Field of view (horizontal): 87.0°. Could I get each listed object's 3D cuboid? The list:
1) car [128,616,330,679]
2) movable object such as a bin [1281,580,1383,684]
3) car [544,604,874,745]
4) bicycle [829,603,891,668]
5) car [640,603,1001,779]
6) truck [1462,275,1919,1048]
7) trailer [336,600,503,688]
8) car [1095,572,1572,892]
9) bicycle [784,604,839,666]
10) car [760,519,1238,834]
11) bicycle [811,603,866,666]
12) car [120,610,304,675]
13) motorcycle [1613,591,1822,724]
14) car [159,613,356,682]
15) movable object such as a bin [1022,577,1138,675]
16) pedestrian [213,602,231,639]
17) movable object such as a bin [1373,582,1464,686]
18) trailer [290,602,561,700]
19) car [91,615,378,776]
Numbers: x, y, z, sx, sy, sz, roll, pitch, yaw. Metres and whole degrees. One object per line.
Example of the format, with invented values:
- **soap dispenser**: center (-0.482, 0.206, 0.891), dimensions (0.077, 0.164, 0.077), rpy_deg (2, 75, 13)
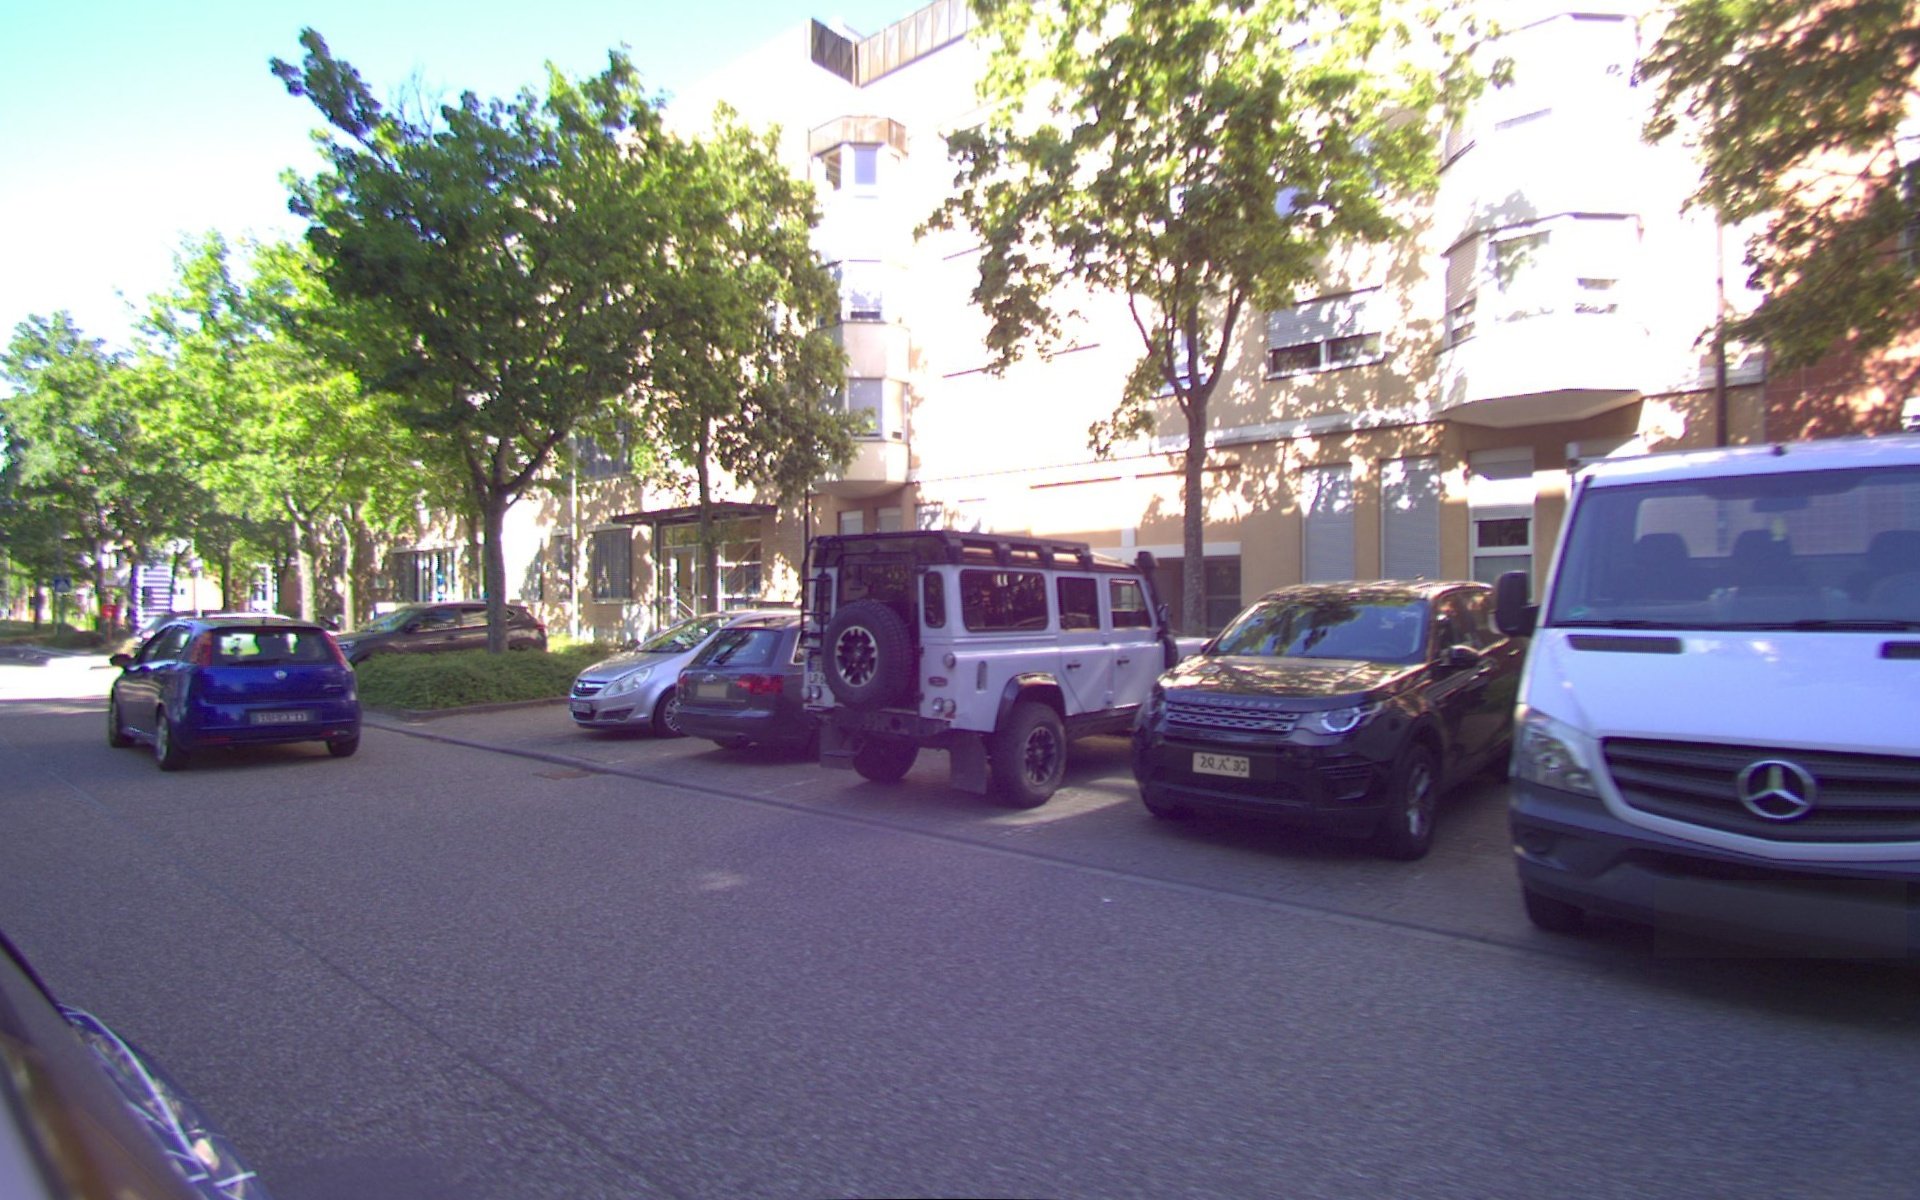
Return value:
- **car**: center (-19.687, 1.228, 27.378), dimensions (1.799, 1.413, 4.110), rpy_deg (-1, 1, 40)
- **movable object such as a bin**: center (6.157, 0.525, 16.736), dimensions (1.435, 1.632, 1.137), rpy_deg (-1, -1, 29)
- **car**: center (-3.112, 0.836, 13.064), dimensions (1.733, 1.472, 3.792), rpy_deg (-1, 0, 44)
- **bicycle**: center (-2.304, 0.807, 23.473), dimensions (0.611, 1.419, 1.714), rpy_deg (-1, 0, 26)
- **car**: center (-1.355, 0.831, 11.086), dimensions (1.829, 1.504, 3.745), rpy_deg (-1, 0, 36)
- **truck**: center (4.874, 0.240, 5.679), dimensions (2.186, 2.440, 6.167), rpy_deg (-1, -2, 41)
- **trailer**: center (-11.510, 0.890, 21.628), dimensions (1.711, 1.700, 2.697), rpy_deg (-1, 0, 41)
- **car**: center (2.969, 0.660, 7.490), dimensions (1.999, 1.674, 4.064), rpy_deg (-1, 1, 41)
- **bicycle**: center (-3.580, 0.823, 24.495), dimensions (0.609, 1.419, 1.720), rpy_deg (-1, 0, 18)
- **car**: center (0.609, 0.469, 9.000), dimensions (1.998, 2.067, 4.438), rpy_deg (-1, 1, 39)
- **bicycle**: center (-2.869, 0.804, 24.078), dimensions (0.609, 1.419, 1.720), rpy_deg (-1, 0, 18)
- **car**: center (-21.521, 1.174, 29.231), dimensions (1.727, 1.582, 3.947), rpy_deg (-1, 1, 40)
- **motorcycle**: center (9.792, 0.715, 13.157), dimensions (2.108, 1.603, 0.707), rpy_deg (-1, -2, 40)
- **car**: center (-17.527, 1.136, 25.378), dimensions (1.753, 1.463, 3.716), rpy_deg (-1, 1, 40)
- **movable object such as a bin**: center (2.359, 0.497, 19.903), dimensions (1.664, 1.810, 1.581), rpy_deg (-1, -2, 43)
- **pedestrian**: center (-40.284, 1.121, 55.267), dimensions (0.673, 1.930, 0.615), rpy_deg (15, 11, 41)
- **movable object such as a bin**: center (7.294, 0.527, 16.084), dimensions (1.239, 1.574, 1.137), rpy_deg (-1, -1, 29)
- **trailer**: center (-10.112, 0.883, 19.435), dimensions (1.853, 1.584, 4.221), rpy_deg (-1, 0, 37)
- **car**: center (-7.923, 0.885, 10.920), dimensions (3.998, 1.431, 1.627), rpy_deg (-1, -2, 41)
